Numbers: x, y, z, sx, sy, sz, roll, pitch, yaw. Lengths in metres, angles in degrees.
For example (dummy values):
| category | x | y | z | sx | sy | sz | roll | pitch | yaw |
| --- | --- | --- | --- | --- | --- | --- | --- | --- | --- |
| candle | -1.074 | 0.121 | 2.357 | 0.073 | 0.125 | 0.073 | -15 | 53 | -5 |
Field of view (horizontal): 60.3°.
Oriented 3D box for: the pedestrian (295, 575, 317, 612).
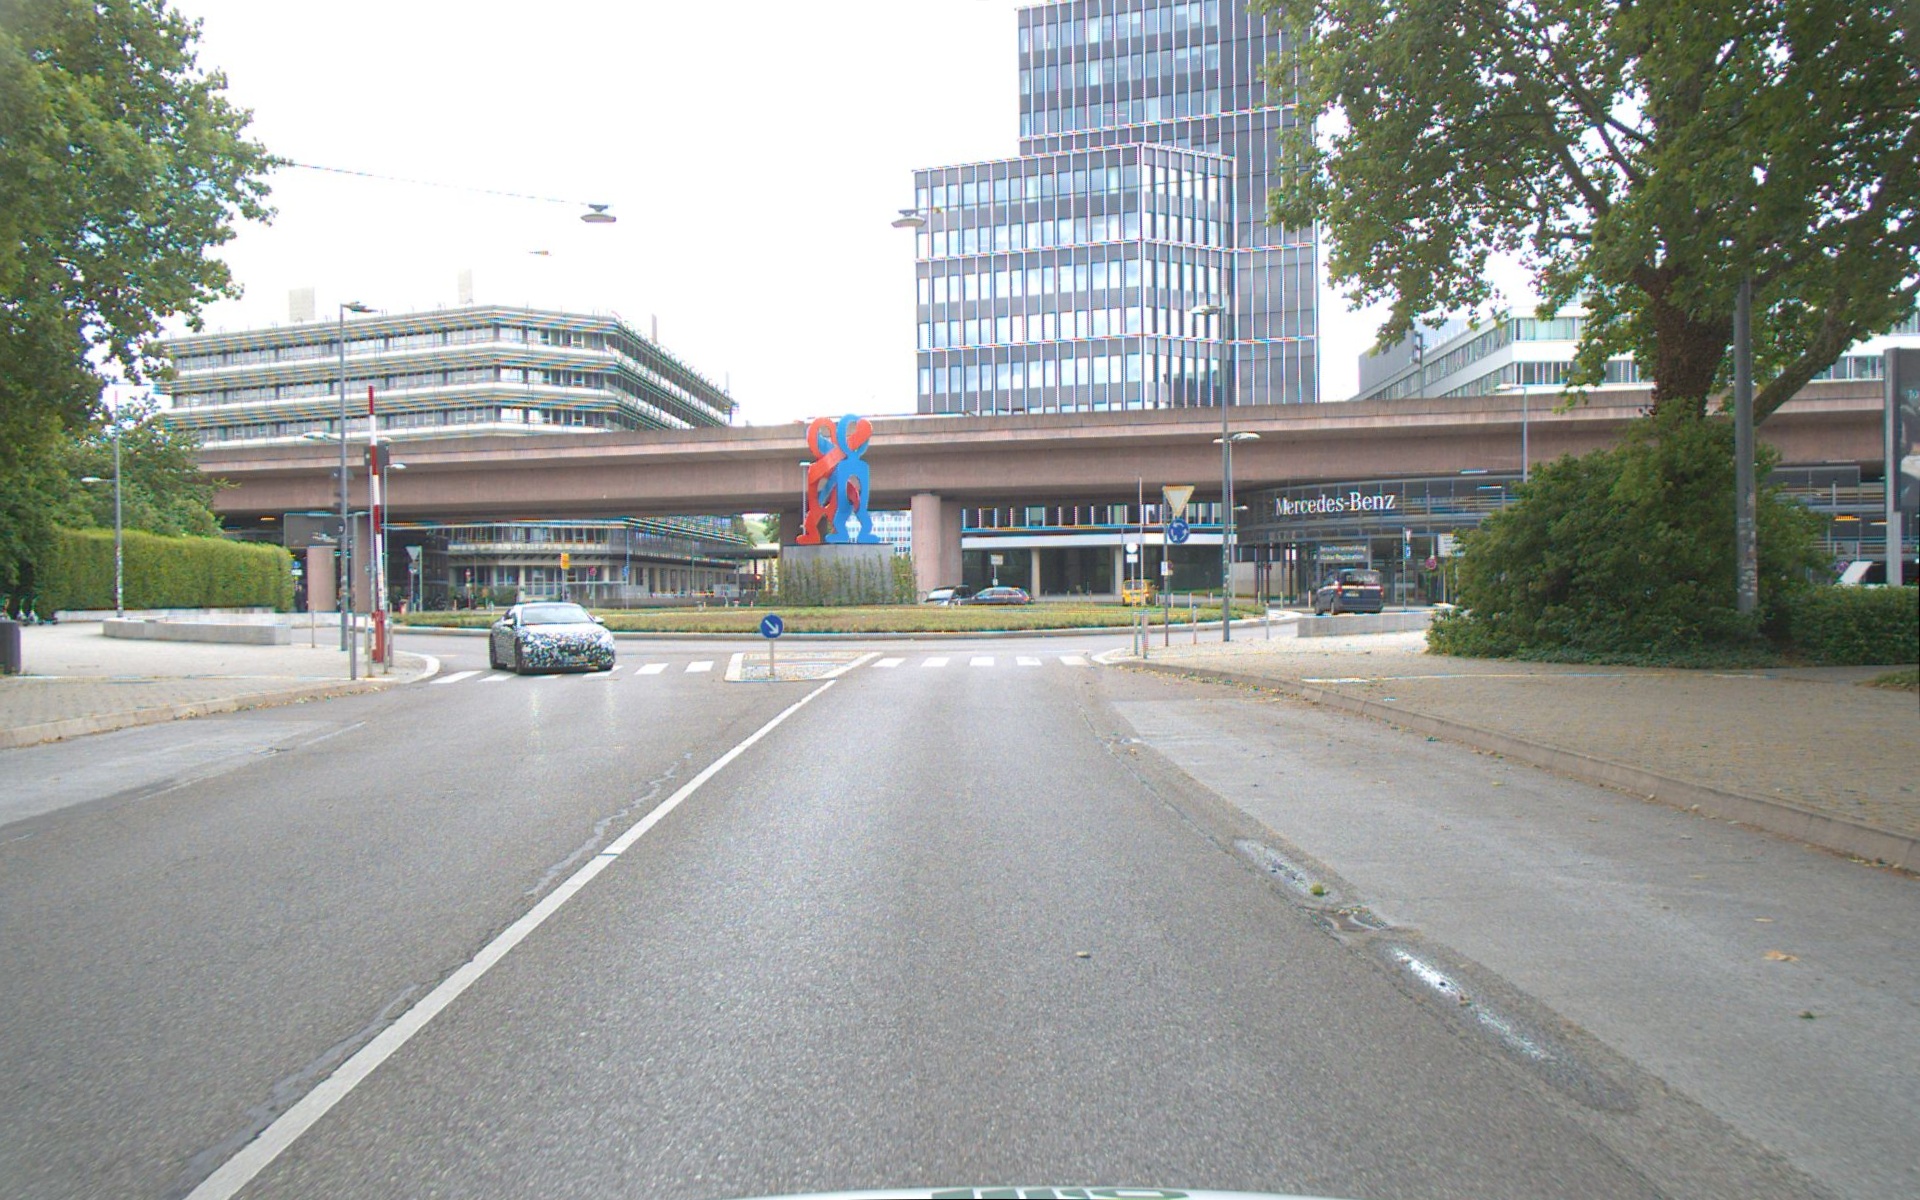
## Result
| category | x | y | z | sx | sy | sz | roll | pitch | yaw |
| --- | --- | --- | --- | --- | --- | --- | --- | --- | --- |
| pedestrian | -36.044 | -0.366 | 91.182 | 1.025 | 2.049 | 0.597 | 0 | 0 | -14 |

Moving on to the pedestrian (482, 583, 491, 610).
| category | x | y | z | sx | sy | sz | roll | pitch | yaw |
| --- | --- | --- | --- | --- | --- | --- | --- | --- | --- |
| pedestrian | -36.355 | -0.284 | 126.965 | 0.578 | 2.049 | 0.597 | 0 | 0 | -14 |

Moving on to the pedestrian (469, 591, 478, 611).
| category | x | y | z | sx | sy | sz | roll | pitch | yaw |
| --- | --- | --- | --- | --- | --- | --- | --- | --- | --- |
| pedestrian | -51.453 | 0.113 | 174.881 | 0.766 | 2.049 | 0.665 | 0 | 0 | -26 |

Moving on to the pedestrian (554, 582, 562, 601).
| category | x | y | z | sx | sy | sz | roll | pitch | yaw |
| --- | --- | --- | --- | --- | --- | --- | --- | --- | --- |
| pedestrian | -42.372 | -0.894 | 174.352 | 0.760 | 2.049 | 0.670 | 0 | 0 | -2 |

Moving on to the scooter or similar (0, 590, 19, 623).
| category | x | y | z | sx | sy | sz | roll | pitch | yaw |
| --- | --- | --- | --- | --- | --- | --- | --- | --- | --- |
| scooter or similar | -38.115 | 0.267 | 63.734 | 3.132 | 1.271 | 0.769 | 0 | 0 | -19 |

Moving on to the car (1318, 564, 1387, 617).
| category | x | y | z | sx | sy | sz | roll | pitch | yaw |
| --- | --- | --- | --- | --- | --- | --- | --- | --- | --- |
| car | 15.566 | -0.367 | 65.800 | 2.227 | 2.049 | 4.787 | 0 | 0 | 8 |

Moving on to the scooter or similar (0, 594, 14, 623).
| category | x | y | z | sx | sy | sz | roll | pitch | yaw |
| --- | --- | --- | --- | --- | --- | --- | --- | --- | --- |
| scooter or similar | -37.819 | 0.328 | 62.840 | 3.132 | 1.116 | 0.769 | 0 | 0 | -19 |

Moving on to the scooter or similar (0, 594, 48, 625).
| category | x | y | z | sx | sy | sz | roll | pitch | yaw |
| --- | --- | --- | --- | --- | --- | --- | --- | --- | --- |
| scooter or similar | -39.449 | 0.391 | 68.161 | 3.132 | 1.271 | 0.769 | 0 | 0 | -19 |

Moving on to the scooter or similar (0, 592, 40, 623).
| category | x | y | z | sx | sy | sz | roll | pitch | yaw |
| --- | --- | --- | --- | --- | --- | --- | --- | --- | --- |
| scooter or similar | -39.267 | 0.301 | 67.236 | 3.132 | 1.271 | 0.769 | 0 | 0 | -19 |

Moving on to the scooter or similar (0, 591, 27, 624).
| category | x | y | z | sx | sy | sz | roll | pitch | yaw |
| --- | --- | --- | --- | --- | --- | --- | --- | --- | --- |
| scooter or similar | -38.407 | 0.301 | 64.816 | 3.132 | 1.271 | 0.769 | 0 | 0 | -19 |

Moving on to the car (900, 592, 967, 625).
| category | x | y | z | sx | sy | sz | roll | pitch | yaw |
| --- | --- | --- | --- | --- | --- | --- | --- | --- | --- |
| car | -1.452 | 0.457 | 93.256 | 1.957 | 1.803 | 3.991 | 0 | 0 | 31 |

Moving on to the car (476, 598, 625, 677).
| category | x | y | z | sx | sy | sz | roll | pitch | yaw |
| --- | --- | --- | --- | --- | --- | --- | --- | --- | --- |
| car | -8.796 | 0.747 | 35.258 | 1.880 | 1.478 | 4.768 | -3 | 1 | -29 |

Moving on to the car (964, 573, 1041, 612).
| category | x | y | z | sx | sy | sz | roll | pitch | yaw |
| --- | --- | --- | --- | --- | --- | --- | --- | --- | --- |
| car | 2.188 | -0.396 | 84.792 | 3.642 | 1.959 | 1.923 | 0 | 0 | 15 |

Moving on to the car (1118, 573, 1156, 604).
| category | x | y | z | sx | sy | sz | roll | pitch | yaw |
| --- | --- | --- | --- | --- | --- | --- | --- | --- | --- |
| car | 11.968 | -0.769 | 111.431 | 1.951 | 2.049 | 4.003 | 0 | 0 | 15 |

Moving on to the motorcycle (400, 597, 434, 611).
| category | x | y | z | sx | sy | sz | roll | pitch | yaw |
| --- | --- | --- | --- | --- | --- | --- | --- | --- | --- |
| motorcycle | -45.467 | 0.358 | 138.447 | 2.597 | 1.132 | 1.040 | 0 | 0 | 19 |
